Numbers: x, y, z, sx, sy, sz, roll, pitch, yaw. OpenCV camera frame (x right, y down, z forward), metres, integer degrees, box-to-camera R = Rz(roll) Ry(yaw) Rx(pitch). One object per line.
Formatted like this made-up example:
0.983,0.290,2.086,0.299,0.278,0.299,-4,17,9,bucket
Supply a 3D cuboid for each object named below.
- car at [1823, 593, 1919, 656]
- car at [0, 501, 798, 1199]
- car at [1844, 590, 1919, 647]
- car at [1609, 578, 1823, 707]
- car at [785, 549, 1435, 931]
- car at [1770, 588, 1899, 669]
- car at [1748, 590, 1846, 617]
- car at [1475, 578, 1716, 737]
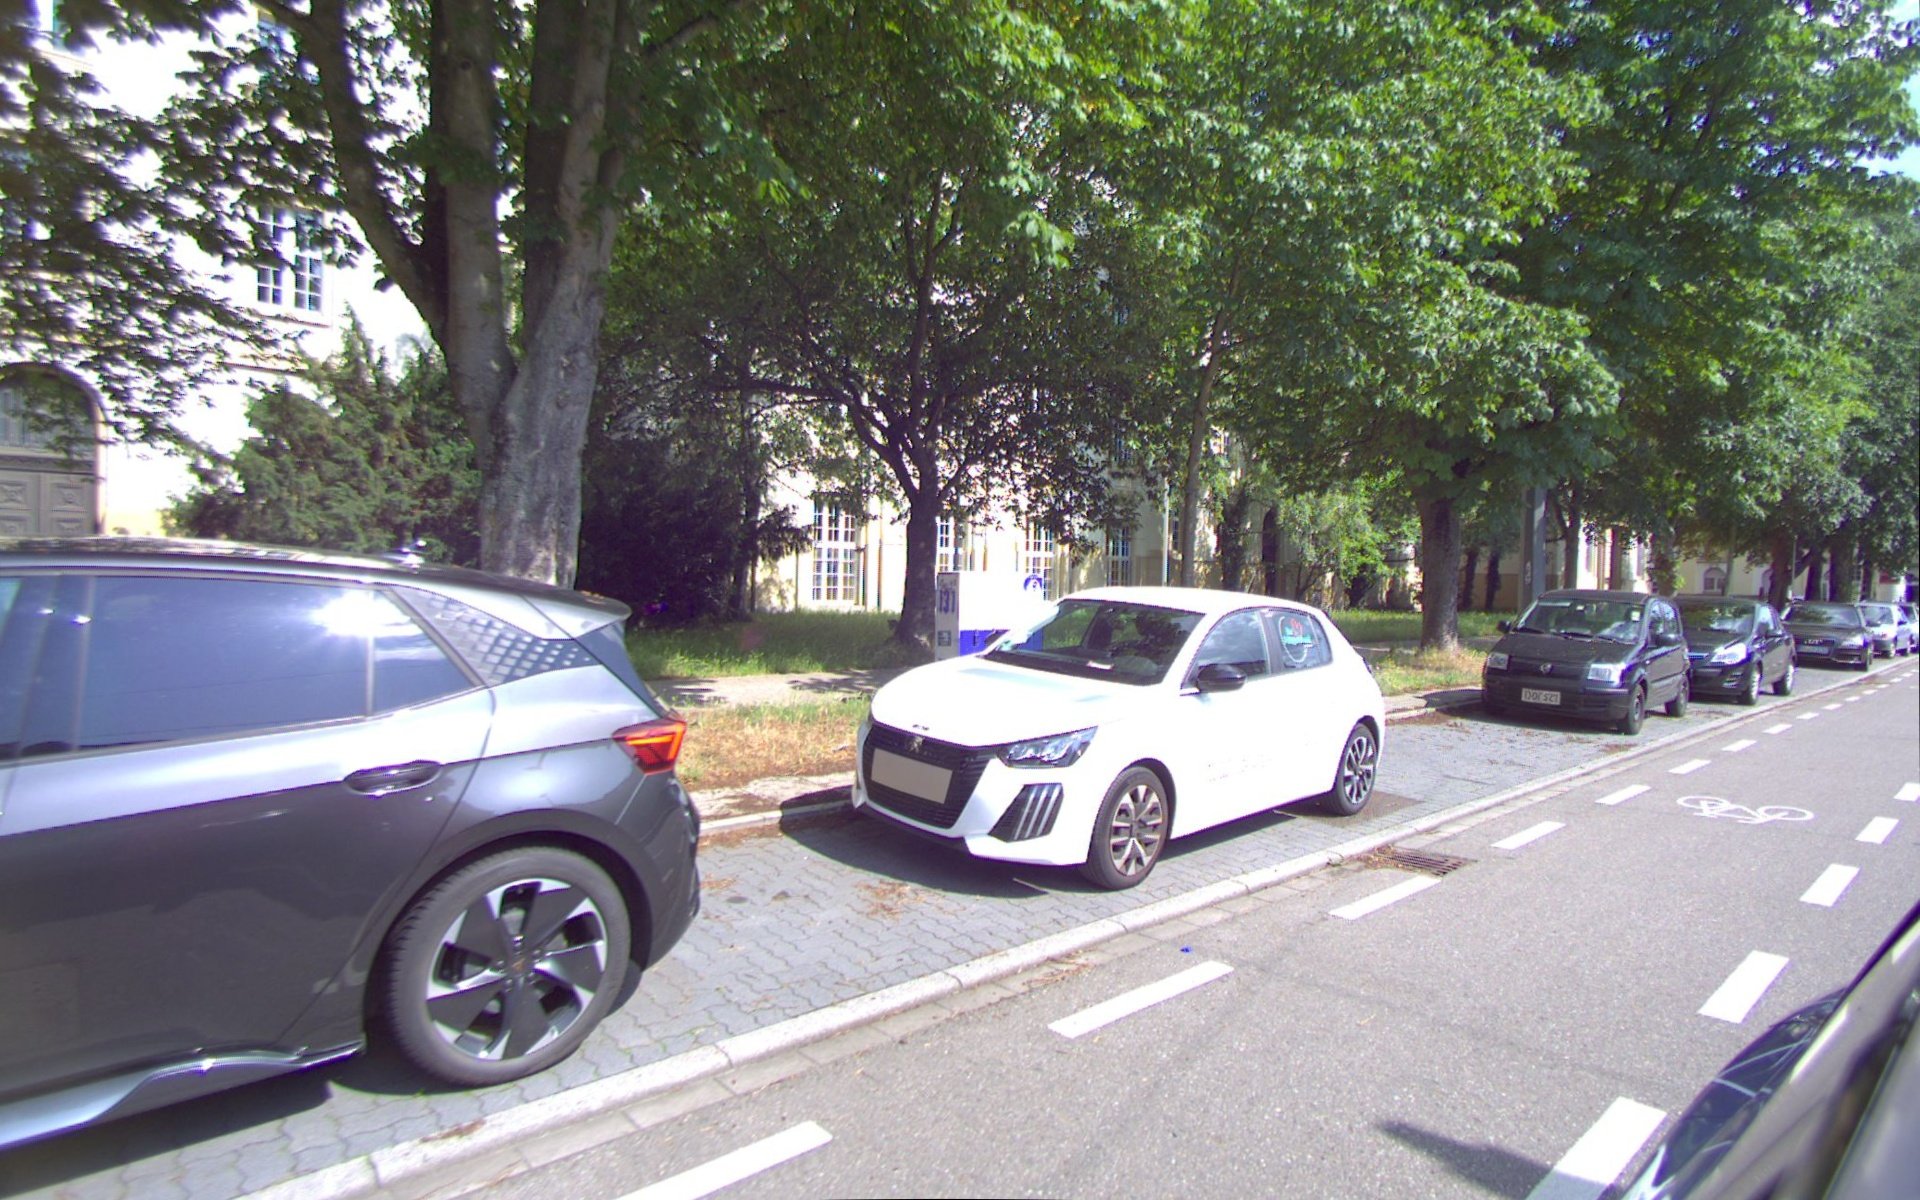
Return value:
24.407,0.619,26.793,3.942,1.448,1.640,1,4,-39,car
-2.868,0.541,2.641,4.595,1.602,1.728,0,3,-41,car
28.144,0.540,30.299,4.962,1.458,1.833,0,5,-42,car
11.531,0.542,15.333,4.233,1.580,1.694,0,5,-42,car
1.189,0.549,6.361,4.183,1.542,1.837,0,4,-44,car
19.951,0.565,23.019,1.833,1.484,4.754,5,5,44,car
57.626,0.210,69.770,1.821,1.676,4.841,-1,2,-31,car
7.634,0.548,12.035,3.500,1.478,1.558,-1,6,-44,car
